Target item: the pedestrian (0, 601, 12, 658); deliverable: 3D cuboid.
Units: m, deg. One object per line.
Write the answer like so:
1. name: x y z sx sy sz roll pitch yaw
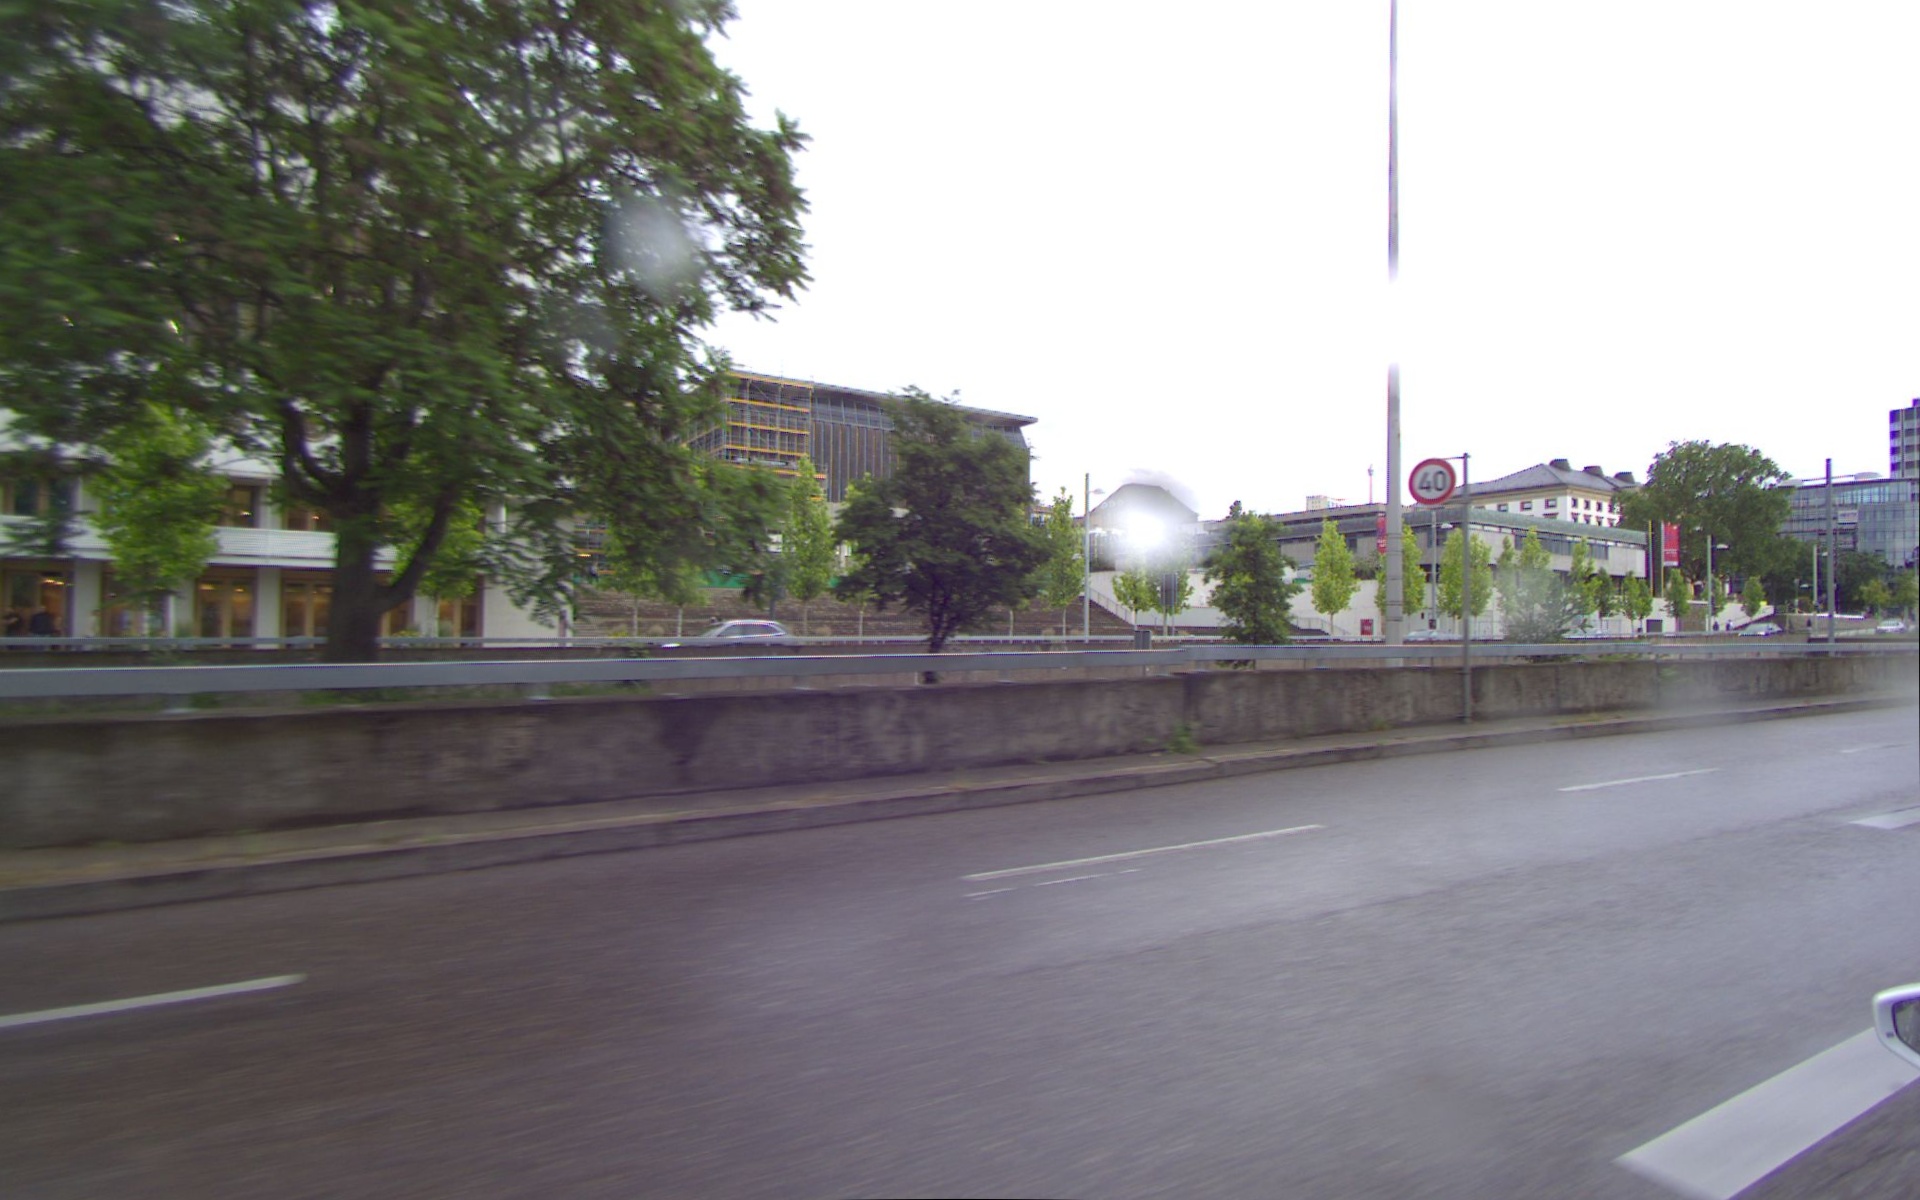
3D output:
1. pedestrian: -32.515 0.976 33.670 0.687 1.883 0.741 1 -1 11

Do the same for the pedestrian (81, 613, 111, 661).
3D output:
1. pedestrian: -30.573 1.297 35.559 0.730 1.649 0.698 1 -1 44

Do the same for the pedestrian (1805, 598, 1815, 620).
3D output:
1. pedestrian: 85.055 0.871 100.502 0.764 2.120 0.717 -6 4 -43

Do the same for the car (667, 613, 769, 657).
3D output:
1. car: -7.538 1.099 31.391 2.796 1.294 1.285 2 -1 -37

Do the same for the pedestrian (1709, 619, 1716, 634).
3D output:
1. pedestrian: 69.533 2.446 92.811 0.460 1.401 0.575 1 -1 32

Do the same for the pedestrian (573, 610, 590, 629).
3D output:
1. pedestrian: -18.324 0.931 48.648 0.621 0.899 0.803 2 -1 -30

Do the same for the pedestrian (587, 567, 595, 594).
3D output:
1. pedestrian: -22.206 -1.154 60.445 0.305 1.594 0.315 1 -1 12

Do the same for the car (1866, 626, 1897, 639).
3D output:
1. car: 94.598 3.346 103.093 3.128 1.271 1.401 2 -1 -30

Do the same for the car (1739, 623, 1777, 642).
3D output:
1. car: 62.817 2.565 79.098 2.930 1.459 1.456 2 -1 -32

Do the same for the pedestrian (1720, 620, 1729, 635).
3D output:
1. pedestrian: 75.235 2.697 98.867 0.626 1.441 0.489 2 -1 -32

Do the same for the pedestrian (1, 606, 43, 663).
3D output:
1. pedestrian: -32.103 1.175 34.374 0.687 1.883 0.741 1 -1 11

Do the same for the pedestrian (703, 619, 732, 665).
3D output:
1. pedestrian: -10.271 1.787 42.564 0.821 1.891 1.078 2 -1 -35
